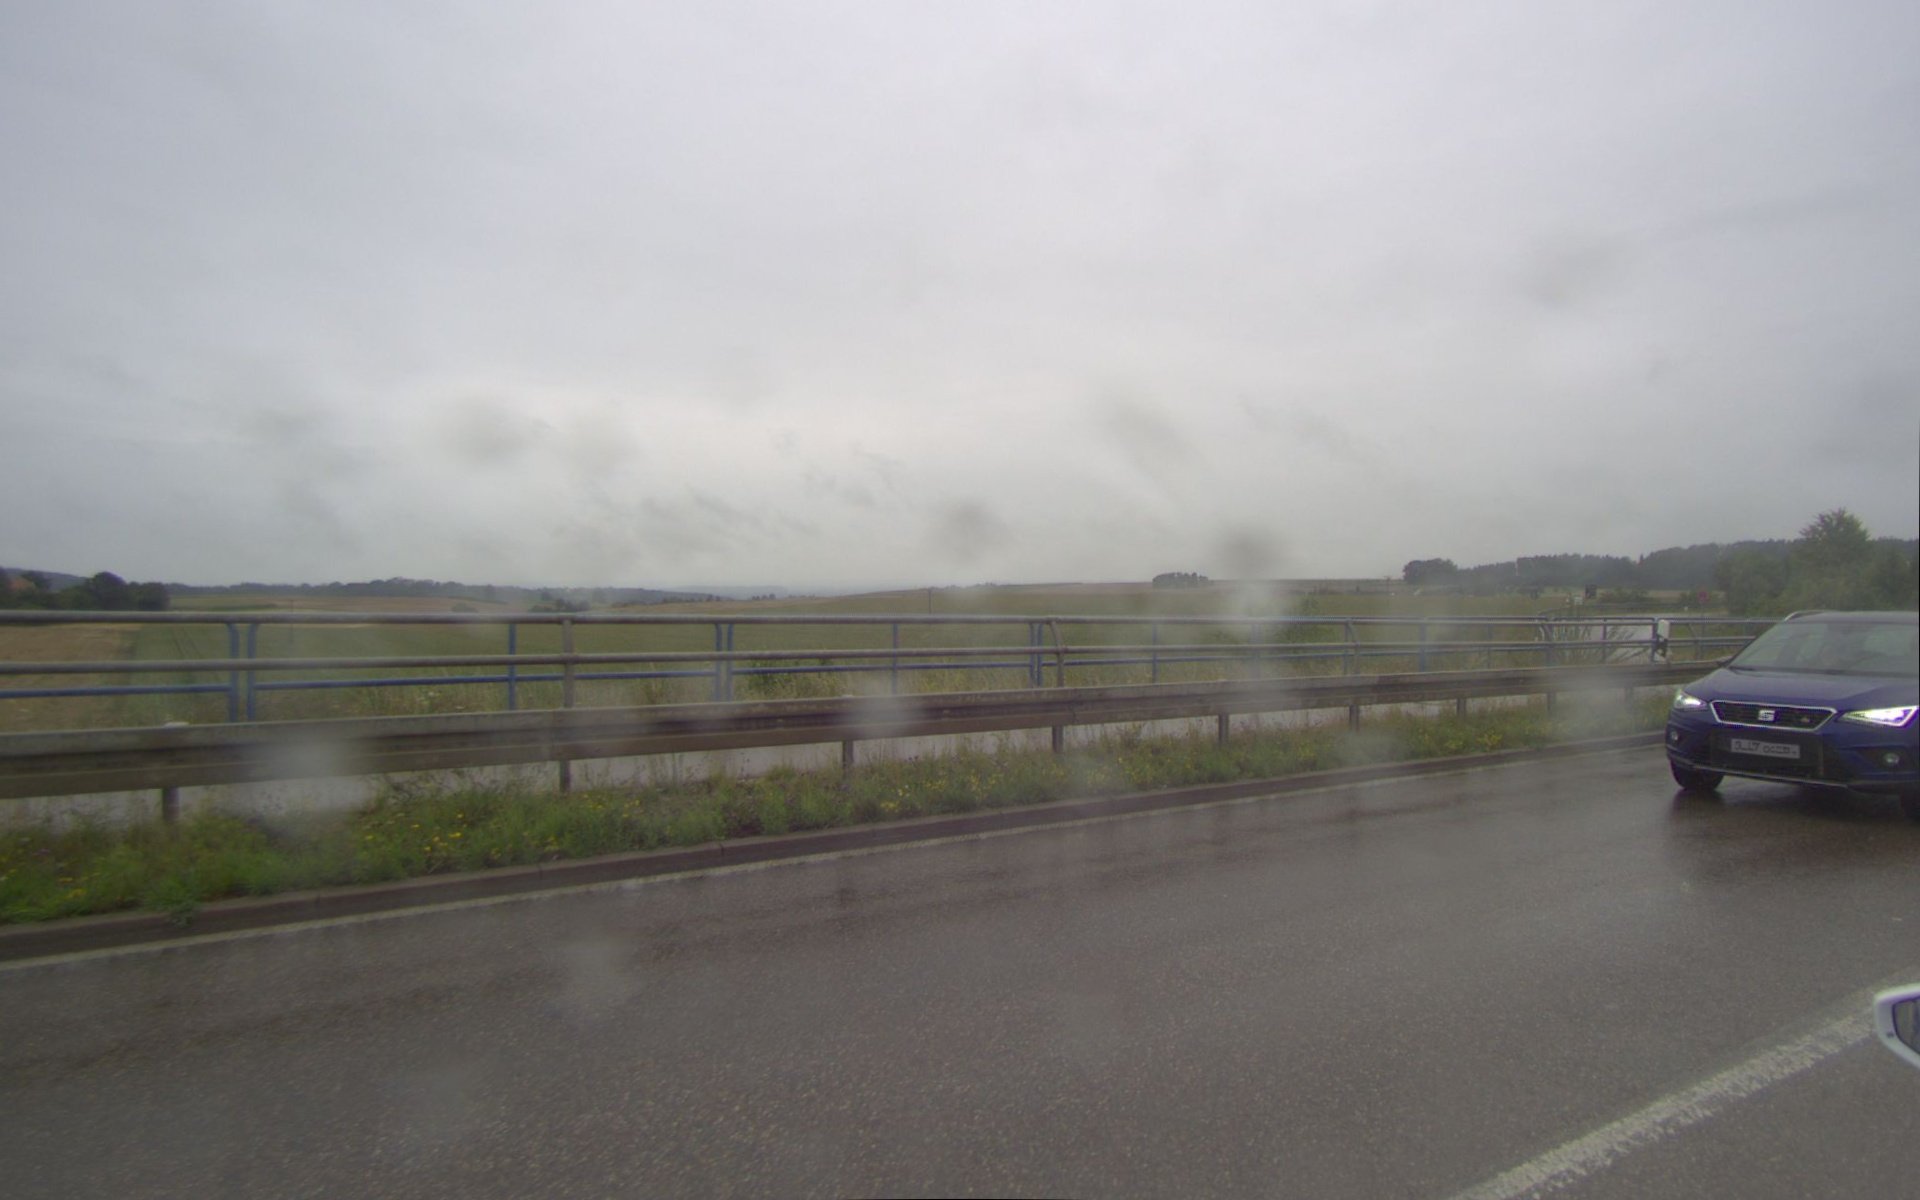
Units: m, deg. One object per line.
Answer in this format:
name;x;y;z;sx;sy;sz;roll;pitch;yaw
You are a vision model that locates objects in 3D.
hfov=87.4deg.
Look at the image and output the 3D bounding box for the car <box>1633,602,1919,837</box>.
car;7.667;0.823;8.483;4.122;1.546;1.771;1;0;-32
